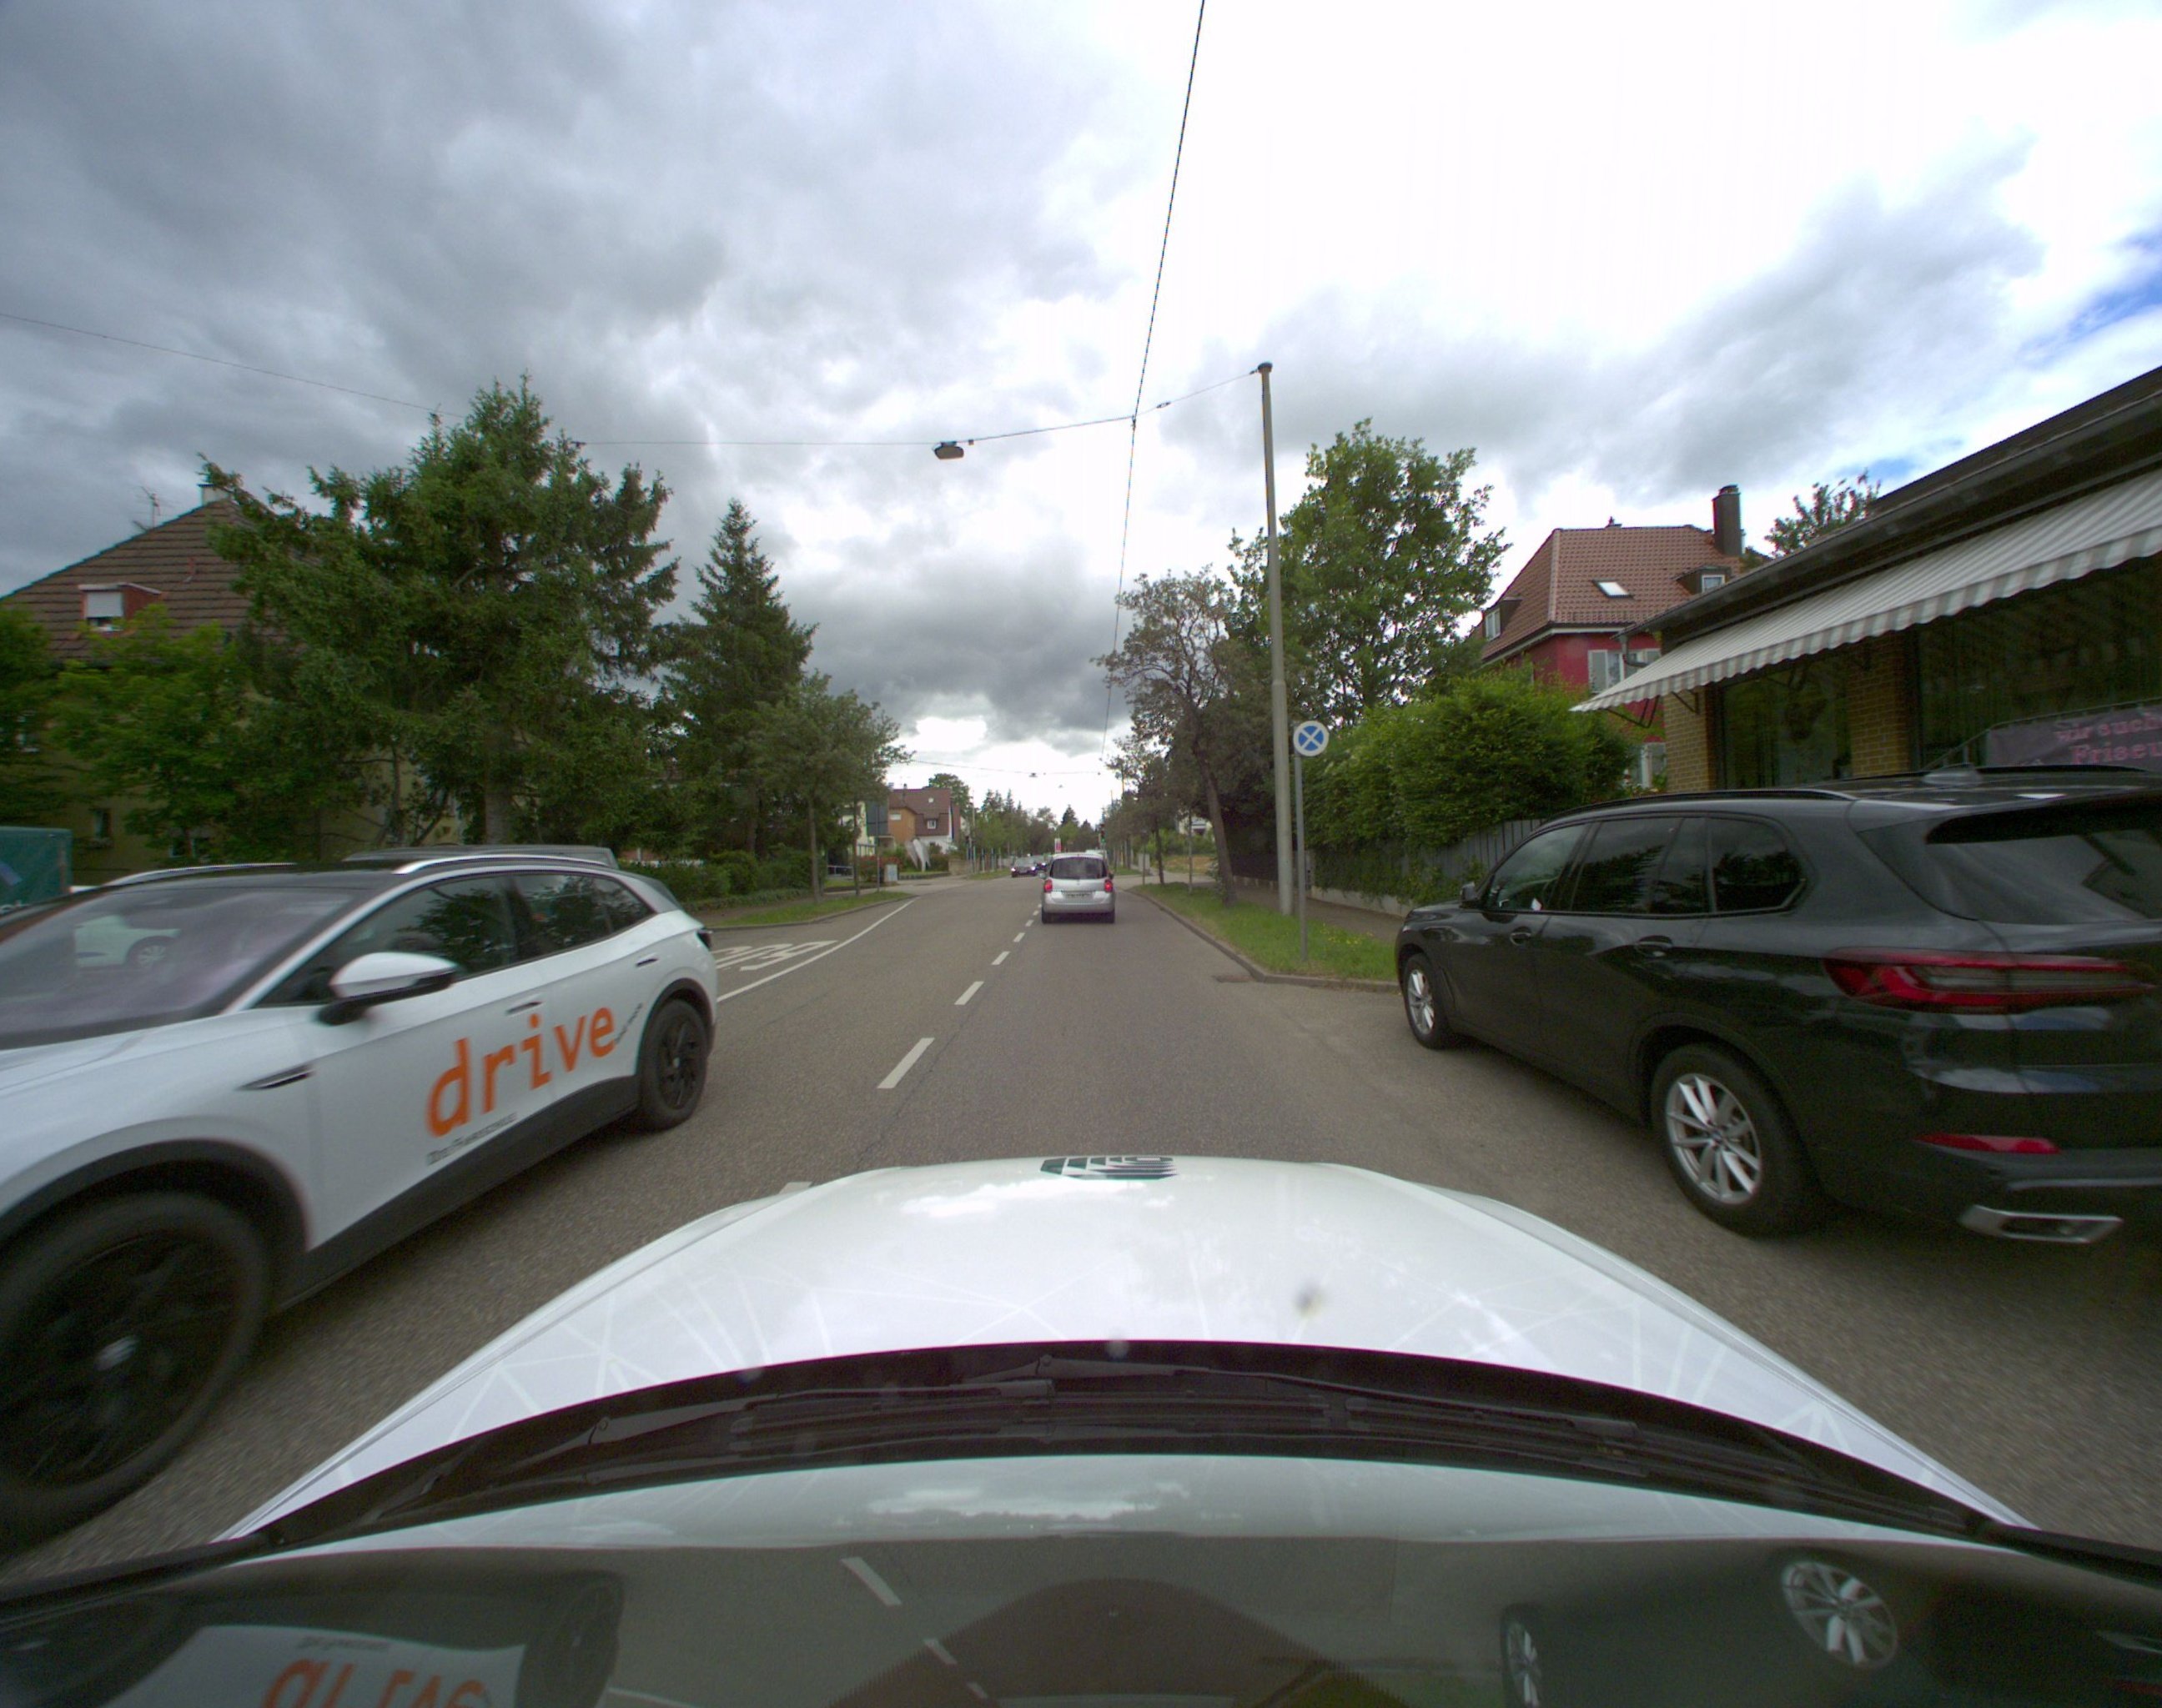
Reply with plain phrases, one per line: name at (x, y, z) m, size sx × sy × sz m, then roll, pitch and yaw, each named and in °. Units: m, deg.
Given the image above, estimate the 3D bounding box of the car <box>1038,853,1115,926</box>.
car at (-0.090, 0.765, 19.363) m, size 1.674 × 1.560 × 3.511 m, roll 0°, pitch 0°, yaw 0°

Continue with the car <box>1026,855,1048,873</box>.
car at (-4.182, 0.926, 77.677) m, size 1.890 × 1.624 × 3.998 m, roll -2°, pitch 0°, yaw -1°

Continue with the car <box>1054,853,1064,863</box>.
car at (-4.023, 0.773, 149.695) m, size 1.808 × 1.692 × 4.464 m, roll -3°, pitch 0°, yaw -1°

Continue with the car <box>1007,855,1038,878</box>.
car at (-4.412, 0.916, 62.159) m, size 1.987 × 1.620 × 4.647 m, roll -2°, pitch 0°, yaw 0°

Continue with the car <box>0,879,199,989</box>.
car at (-16.242, 1.220, 12.369) m, size 1.613 × 1.485 × 3.440 m, roll -2°, pitch 0°, yaw 16°

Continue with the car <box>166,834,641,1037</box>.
car at (-8.094, 0.810, 10.588) m, size 1.987 × 1.949 × 4.898 m, roll -2°, pitch 0°, yaw 0°

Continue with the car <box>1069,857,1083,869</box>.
car at (-0.792, 1.425, 131.310) m, size 1.832 × 1.713 × 3.994 m, roll -3°, pitch 0°, yaw -4°

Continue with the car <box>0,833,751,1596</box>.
car at (-3.220, 0.799, 3.473) m, size 1.815 × 1.603 × 4.297 m, roll -3°, pitch 0°, yaw 0°

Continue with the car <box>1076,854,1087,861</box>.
car at (0.083, 0.662, 165.599) m, size 1.625 × 1.452 × 3.867 m, roll -2°, pitch 0°, yaw -7°

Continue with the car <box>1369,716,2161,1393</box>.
car at (3.436, 0.512, 4.689) m, size 1.891 × 1.837 × 4.917 m, roll -3°, pitch 0°, yaw 2°

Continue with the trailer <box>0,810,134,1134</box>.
trailer at (-8.049, 0.796, 3.742) m, size 2.148 × 2.088 × 4.425 m, roll -2°, pitch 0°, yaw 0°

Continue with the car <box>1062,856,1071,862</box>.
car at (-3.753, 1.377, 212.301) m, size 1.694 × 1.506 × 3.961 m, roll -1°, pitch 0°, yaw -8°

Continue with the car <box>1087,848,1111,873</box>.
car at (1.474, 0.541, 67.381) m, size 1.770 × 1.943 × 4.786 m, roll -1°, pitch 0°, yaw -1°

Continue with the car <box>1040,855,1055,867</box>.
car at (-4.427, 0.889, 107.344) m, size 1.610 × 1.472 × 4.001 m, roll -4°, pitch 0°, yaw 1°
